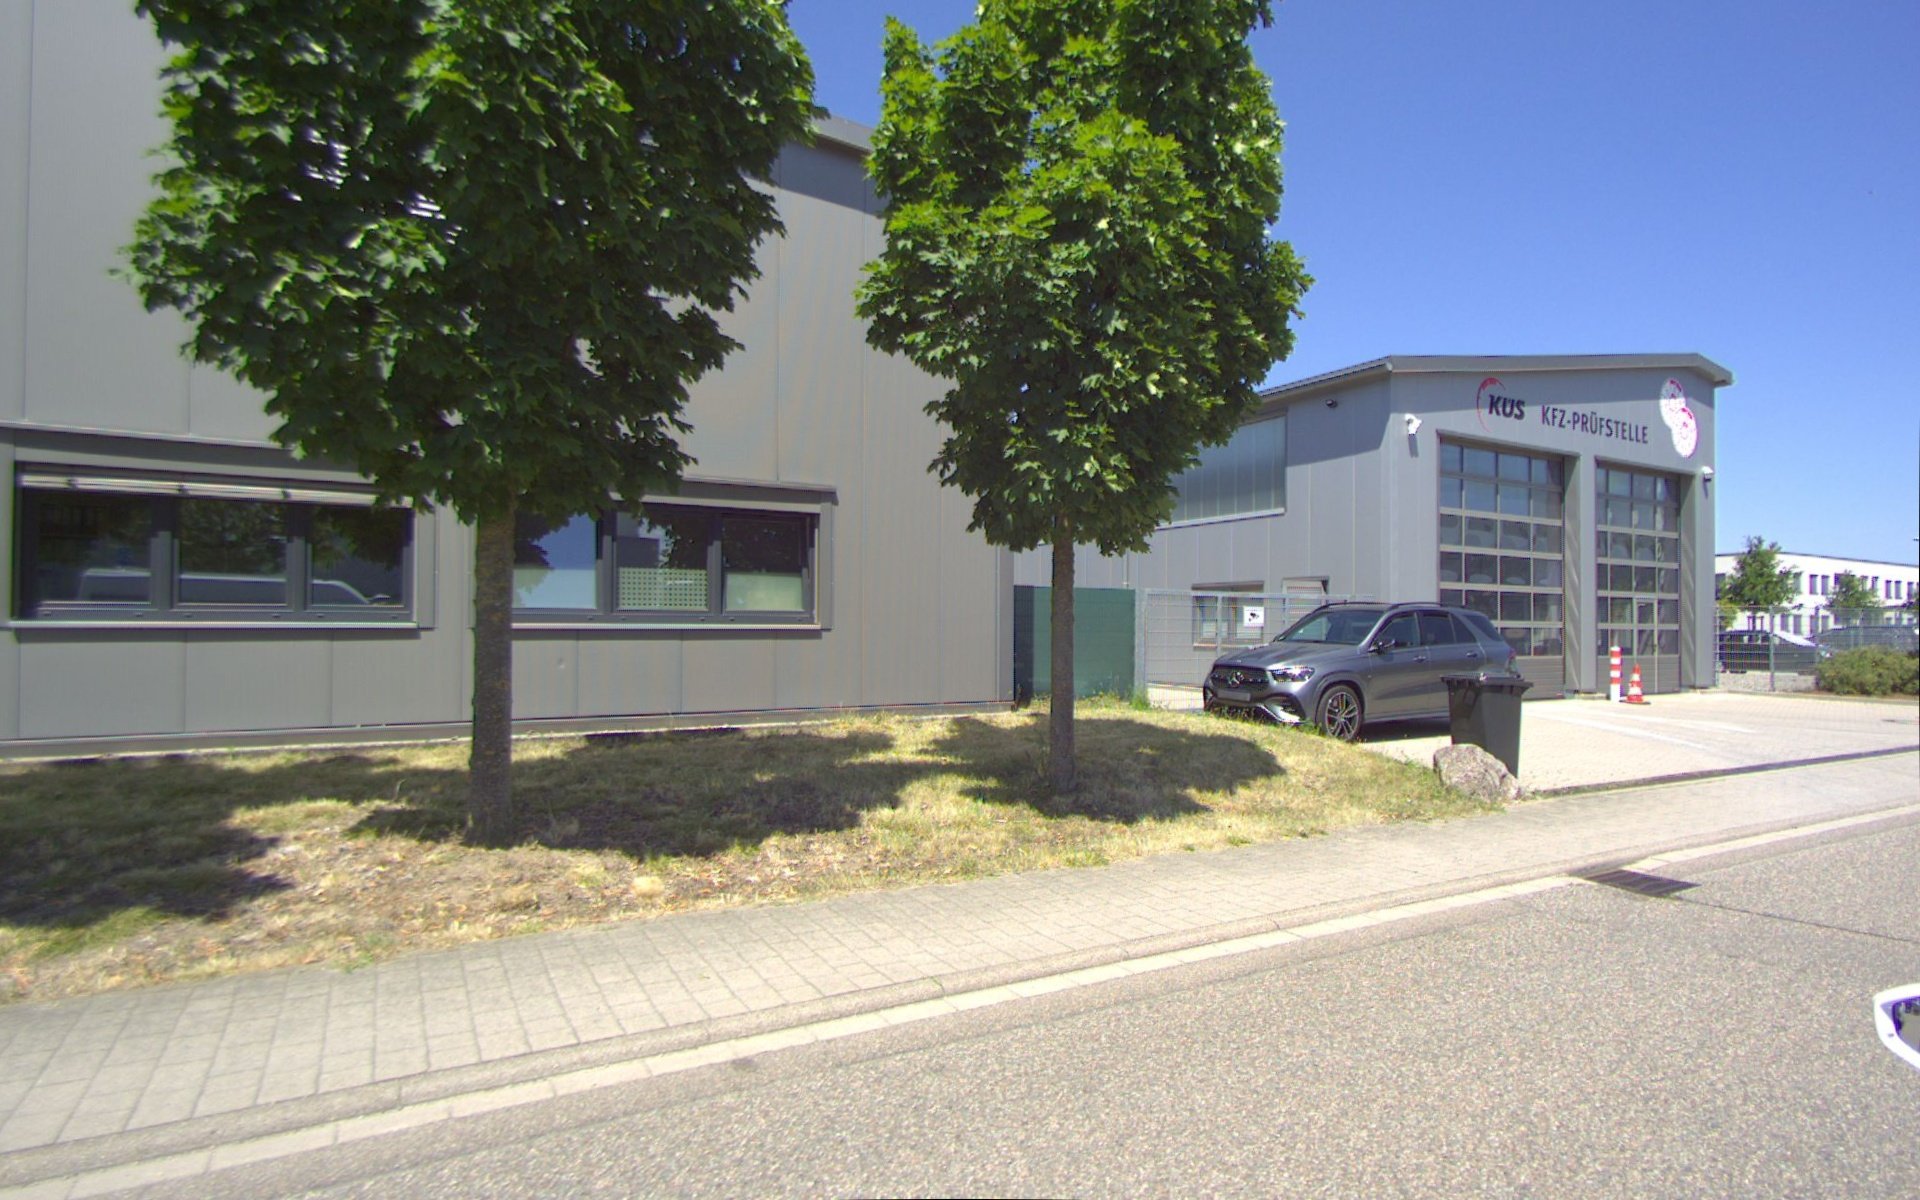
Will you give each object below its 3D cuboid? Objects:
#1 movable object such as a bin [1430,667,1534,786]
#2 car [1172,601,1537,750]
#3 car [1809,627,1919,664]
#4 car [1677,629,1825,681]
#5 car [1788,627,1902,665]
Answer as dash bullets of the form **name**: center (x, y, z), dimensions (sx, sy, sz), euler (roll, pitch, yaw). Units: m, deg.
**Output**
- **movable object such as a bin**: center (5.152, 1.224, 9.920), dimensions (0.756, 1.080, 0.576), euler (1, 0, -30)
- **car**: center (5.490, 0.909, 13.901), dimensions (4.848, 1.759, 1.987), euler (0, 0, -27)
- **car**: center (47.345, 2.349, 52.608), dimensions (1.894, 1.840, 3.968), euler (1, -2, -30)
- **car**: center (25.677, 1.745, 32.702), dimensions (1.542, 1.572, 3.479), euler (1, -2, -34)
- **car**: center (45.238, 2.314, 51.422), dimensions (1.894, 1.840, 3.968), euler (1, -2, -30)
